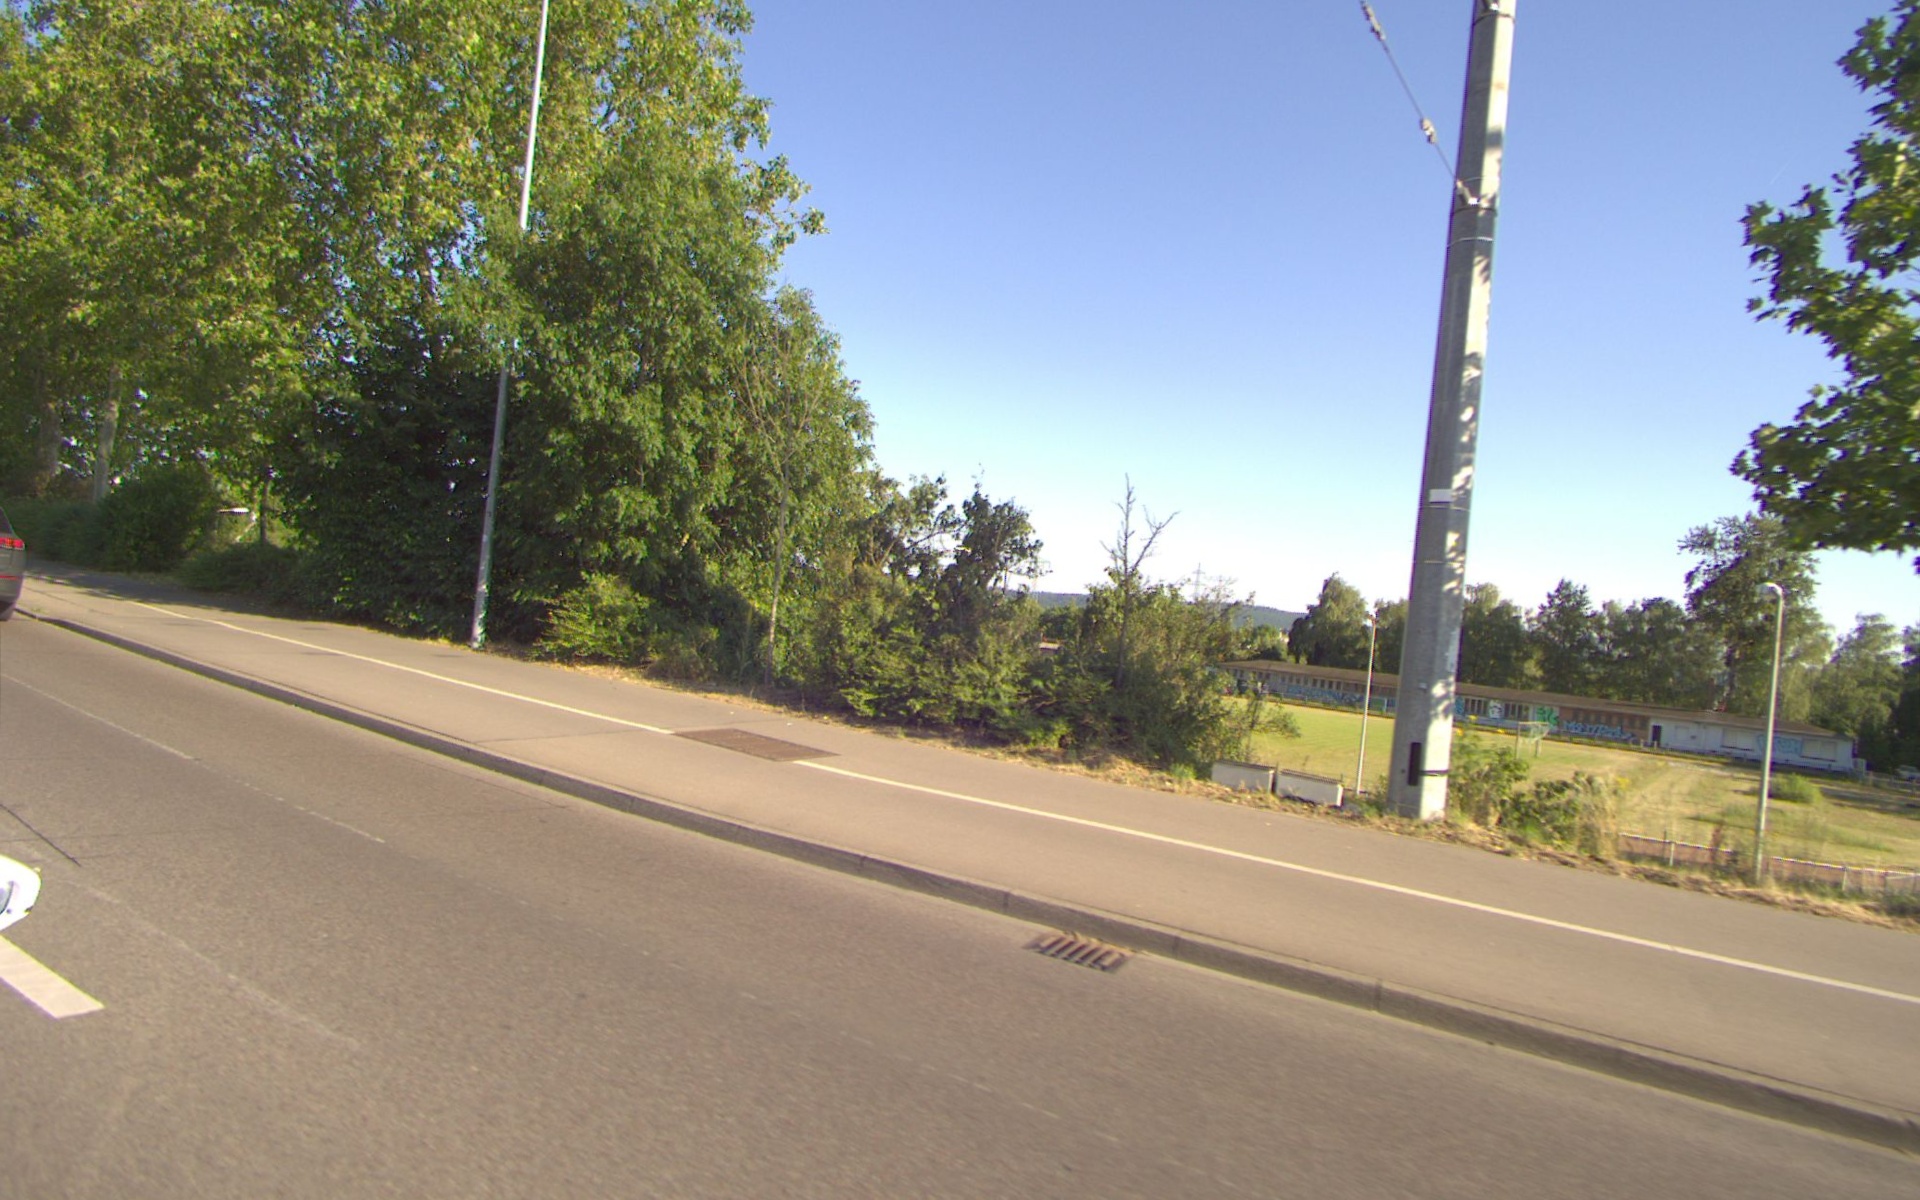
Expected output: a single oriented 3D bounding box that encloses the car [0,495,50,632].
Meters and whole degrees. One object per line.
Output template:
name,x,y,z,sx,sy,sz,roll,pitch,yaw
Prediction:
car,-14.118,-0.716,13.442,4.369,1.680,1.846,6,-2,35
